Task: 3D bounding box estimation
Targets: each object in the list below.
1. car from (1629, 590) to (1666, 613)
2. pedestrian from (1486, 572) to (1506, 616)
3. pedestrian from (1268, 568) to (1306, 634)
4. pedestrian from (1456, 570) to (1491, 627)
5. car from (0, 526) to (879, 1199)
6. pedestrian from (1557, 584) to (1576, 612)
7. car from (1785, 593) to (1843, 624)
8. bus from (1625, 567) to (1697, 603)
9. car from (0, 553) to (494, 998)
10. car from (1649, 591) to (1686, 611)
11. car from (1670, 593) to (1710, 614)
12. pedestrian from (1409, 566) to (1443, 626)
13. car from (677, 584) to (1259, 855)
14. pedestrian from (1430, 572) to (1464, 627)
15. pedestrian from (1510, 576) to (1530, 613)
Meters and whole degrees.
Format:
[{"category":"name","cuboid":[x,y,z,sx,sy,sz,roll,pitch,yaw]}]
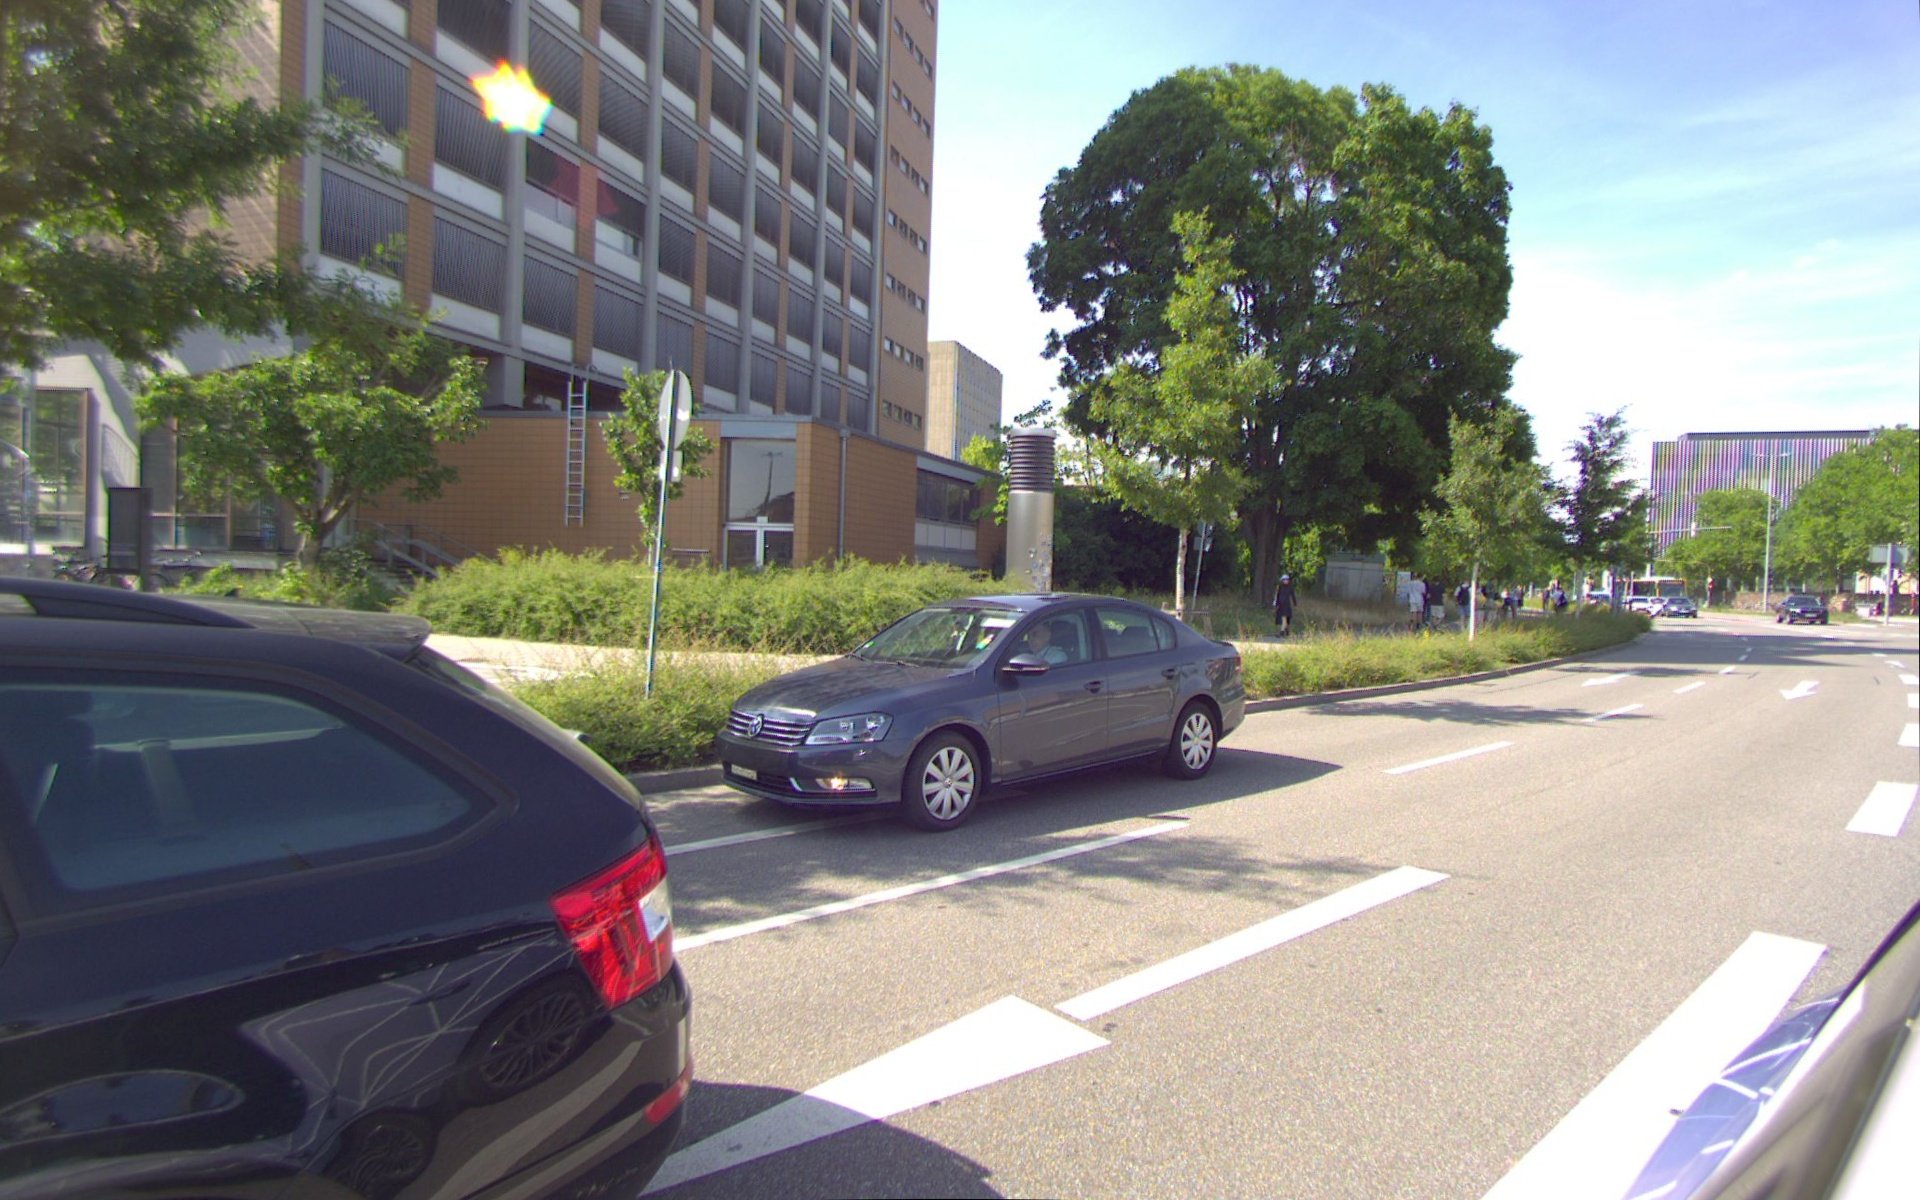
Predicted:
[{"category":"car","cuboid":[47.082,0.086,69.387,1.667,1.493,3.723,0,0,28]},{"category":"pedestrian","cuboid":[22.346,-0.247,42.171,0.638,1.785,0.470,3,3,29]},{"category":"pedestrian","cuboid":[8.521,0.013,26.360,0.719,1.684,0.592,0,3,-41]},{"category":"pedestrian","cuboid":[15.837,-0.051,31.199,0.739,1.694,0.643,0,3,-41]},{"category":"car","cuboid":[-2.444,0.636,1.094,4.698,1.453,1.633,-1,1,-42]},{"category":"pedestrian","cuboid":[25.760,-0.097,42.986,0.639,1.145,0.743,4,3,33]},{"category":"car","cuboid":[49.826,0.458,59.137,1.743,1.751,4.073,0,0,28]},{"category":"bus","cuboid":[66.077,-1.426,95.691,2.764,3.076,12.063,2,1,21]},{"category":"car","cuboid":[-4.172,0.541,3.523,4.320,1.447,1.703,1,1,-41]},{"category":"car","cuboid":[53.982,0.053,77.276,1.635,1.442,4.083,0,0,26]},{"category":"car","cuboid":[51.756,0.246,71.835,1.635,1.442,4.083,0,0,26]},{"category":"pedestrian","cuboid":[14.738,-0.135,32.006,0.719,1.860,0.643,0,3,-41]},{"category":"car","cuboid":[0.312,0.614,7.586,4.451,1.453,1.633,-1,1,-42]},{"category":"pedestrian","cuboid":[15.163,-0.027,31.499,0.719,1.646,0.643,0,3,-41]},{"category":"pedestrian","cuboid":[23.109,-0.235,41.770,0.638,1.464,0.564,3,3,29]}]
